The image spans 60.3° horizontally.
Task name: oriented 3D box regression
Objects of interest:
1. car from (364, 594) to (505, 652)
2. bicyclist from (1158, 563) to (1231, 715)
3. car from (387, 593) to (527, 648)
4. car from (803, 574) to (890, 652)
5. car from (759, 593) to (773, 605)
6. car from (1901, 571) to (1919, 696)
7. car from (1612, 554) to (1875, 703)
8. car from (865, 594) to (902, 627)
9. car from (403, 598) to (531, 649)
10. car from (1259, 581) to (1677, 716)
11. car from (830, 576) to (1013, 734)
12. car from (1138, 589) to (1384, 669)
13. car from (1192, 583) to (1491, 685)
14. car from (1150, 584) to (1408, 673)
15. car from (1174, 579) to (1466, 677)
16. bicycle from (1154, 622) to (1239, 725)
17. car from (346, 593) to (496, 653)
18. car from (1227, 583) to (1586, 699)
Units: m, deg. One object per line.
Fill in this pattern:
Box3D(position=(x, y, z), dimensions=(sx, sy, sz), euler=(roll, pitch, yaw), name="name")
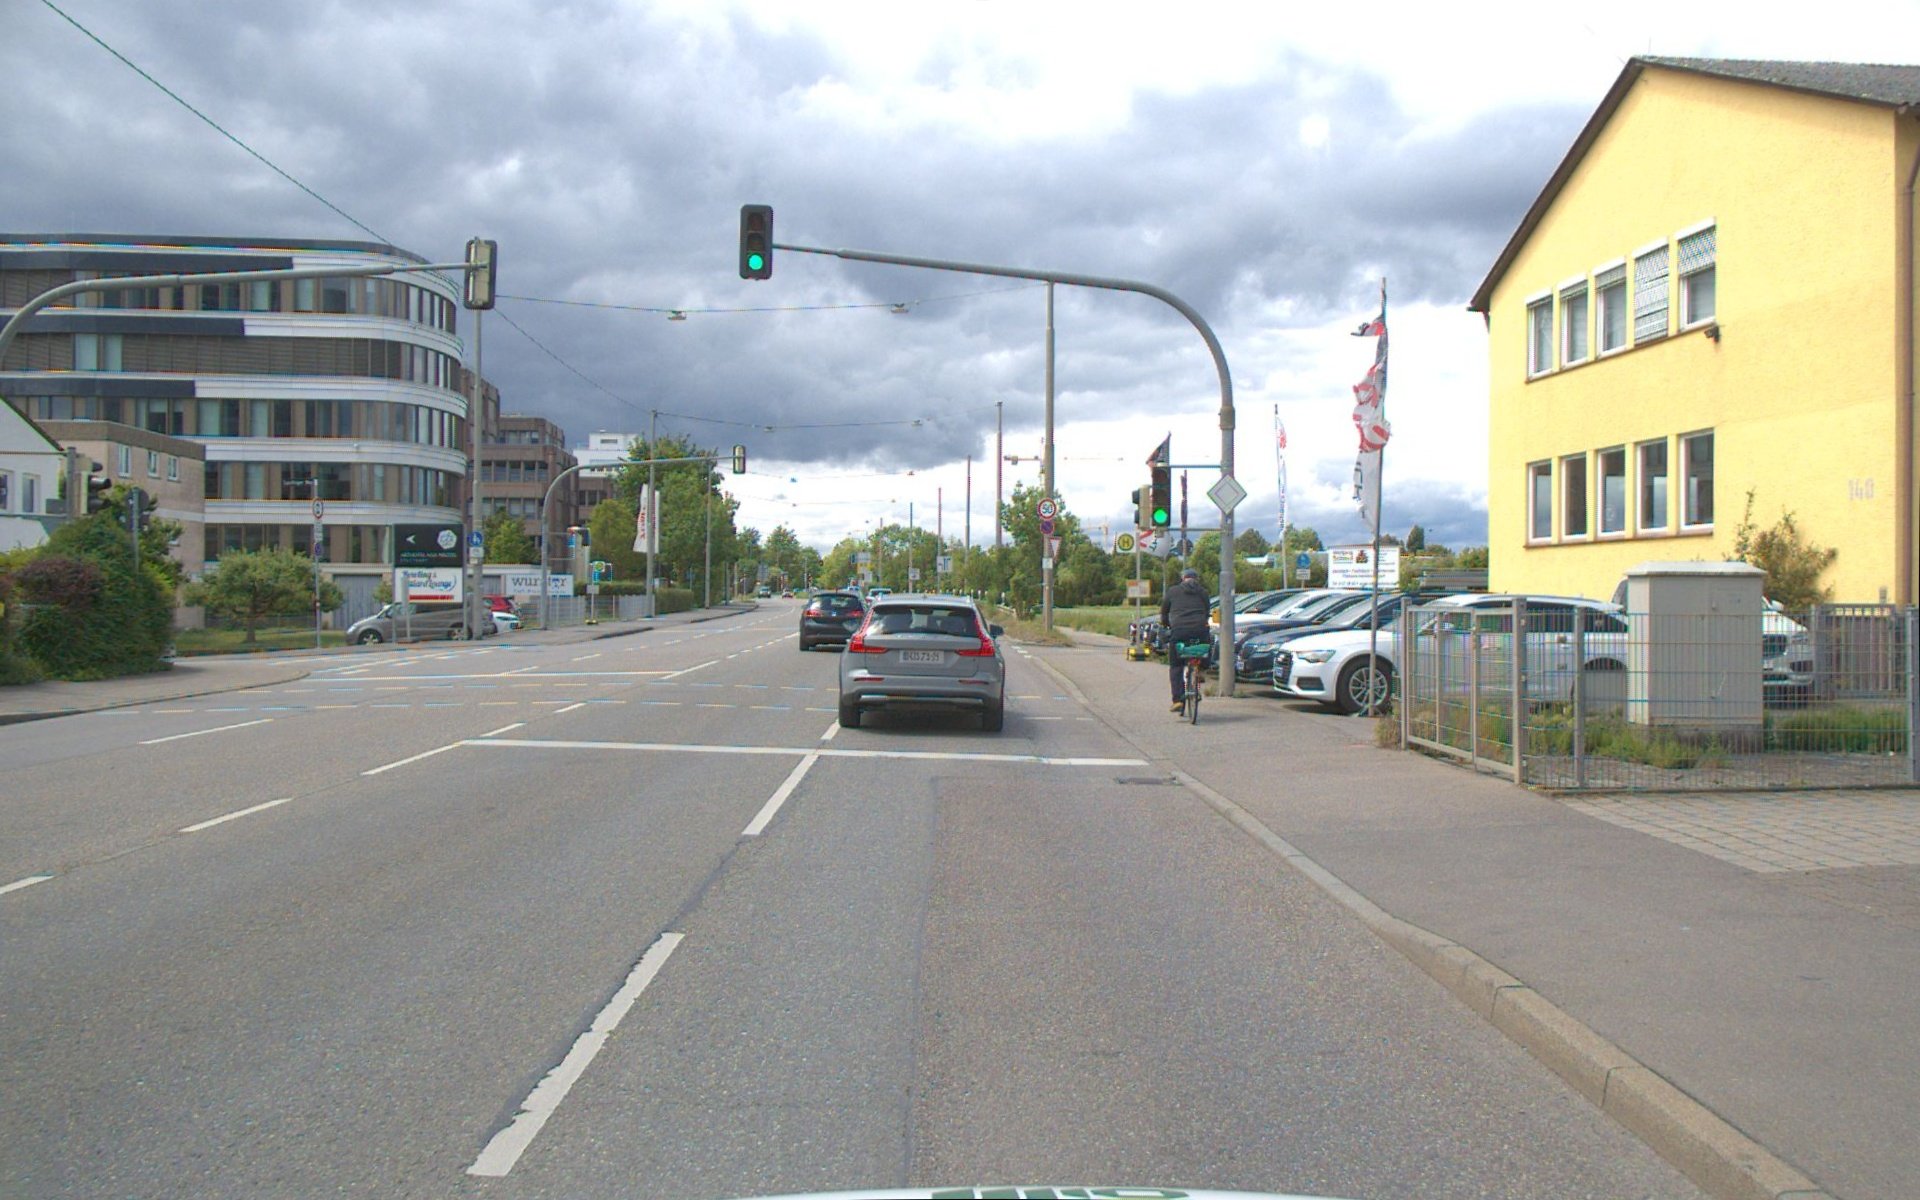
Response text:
Box3D(position=(-16.998, 0.735, 53.623), dimensions=(3.910, 1.449, 1.854), euler=(-6, 0, -4), name="car")
Box3D(position=(2.727, 0.445, 19.335), dimensions=(0.625, 1.704, 0.890), euler=(-3, 0, -1), name="bicyclist")
Box3D(position=(-17.000, 0.707, 56.037), dimensions=(4.145, 1.411, 1.981), euler=(-6, 0, -7), name="car")
Box3D(position=(-2.751, 0.319, 40.477), dimensions=(1.954, 1.747, 3.997), euler=(2, -1, -4), name="car")
Box3D(position=(-29.312, -0.130, 250.258), dimensions=(1.844, 1.747, 3.997), euler=(2, -1, -3), name="car")
Box3D(position=(14.400, 0.492, 20.834), dimensions=(4.044, 1.609, 1.858), euler=(2, 0, -2), name="car")
Box3D(position=(10.772, 0.399, 23.190), dimensions=(1.934, 1.853, 5.034), euler=(0, -1, 8), name="car")
Box3D(position=(-4.298, 0.598, 93.630), dimensions=(1.953, 1.724, 3.998), euler=(2, -1, -2), name="car")
Box3D(position=(-17.460, 0.819, 58.736), dimensions=(3.910, 1.393, 1.847), euler=(-6, 0, -4), name="car")
Box3D(position=(6.265, 0.573, 20.789), dimensions=(4.602, 1.519, 2.045), euler=(1, 0, -2), name="car")
Box3D(position=(-0.405, 0.595, 19.296), dimensions=(1.857, 1.581, 3.999), euler=(2, -1, 0), name="car")
Box3D(position=(6.263, 0.584, 34.779), dimensions=(4.753, 1.455, 2.038), euler=(2, 0, -1), name="car")
Box3D(position=(6.046, 0.522, 26.544), dimensions=(4.282, 1.428, 1.987), euler=(2, 0, -3), name="car")
Box3D(position=(6.109, 0.533, 32.084), dimensions=(4.581, 1.519, 2.015), euler=(2, 0, 0), name="car")
Box3D(position=(6.300, 0.476, 29.356), dimensions=(4.702, 1.506, 2.032), euler=(2, 0, 0), name="car")
Box3D(position=(2.745, 0.830, 19.404), dimensions=(0.625, 1.081, 1.977), euler=(-3, 0, -1), name="bicycle")
Box3D(position=(-16.603, 0.692, 51.127), dimensions=(4.018, 1.422, 1.904), euler=(-6, 1, -9), name="car")
Box3D(position=(6.285, 0.566, 23.668), dimensions=(4.565, 1.519, 2.034), euler=(1, 0, -2), name="car")
